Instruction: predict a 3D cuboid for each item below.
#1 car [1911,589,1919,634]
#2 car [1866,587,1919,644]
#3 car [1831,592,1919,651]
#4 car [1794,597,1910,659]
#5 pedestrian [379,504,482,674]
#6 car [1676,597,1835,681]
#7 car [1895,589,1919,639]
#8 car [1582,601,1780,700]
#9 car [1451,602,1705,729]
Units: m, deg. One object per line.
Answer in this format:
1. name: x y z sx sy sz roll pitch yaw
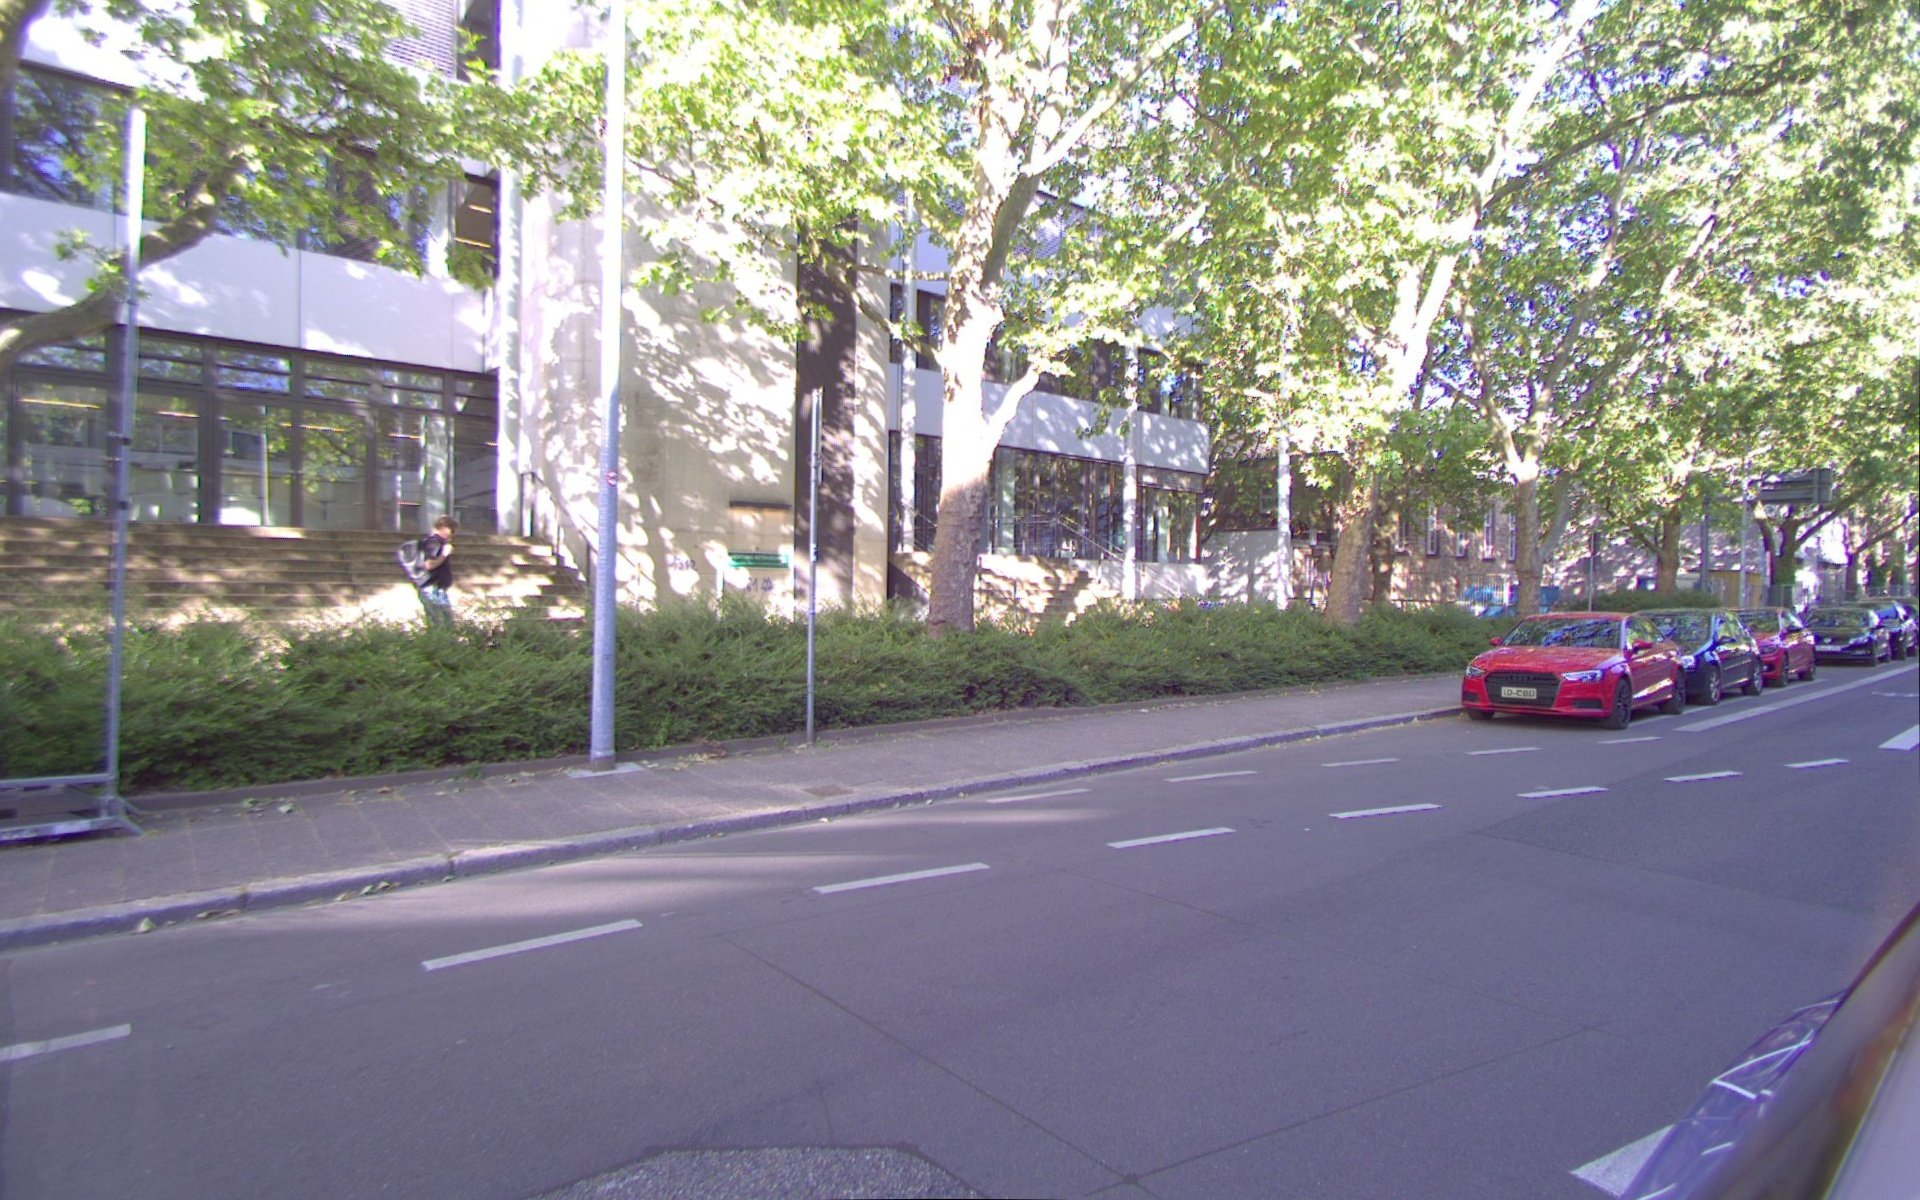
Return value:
1. car: 39.625 0.436 40.397 4.475 1.777 2.040 0 -1 -42
2. car: 31.055 0.486 33.010 4.271 1.777 1.788 0 -1 -42
3. car: 26.595 0.586 29.128 4.092 1.573 1.788 0 -1 -42
4. car: 23.050 0.677 26.096 4.092 1.478 1.788 0 -1 -42
5. pedestrian: -5.928 -0.128 11.323 0.848 1.803 0.785 0 0 -42
6. car: 15.858 0.698 20.103 4.092 1.502 1.815 0 -1 -42
7. car: 35.908 0.481 37.246 4.475 1.777 1.788 0 -1 -42
8. car: 11.953 0.736 16.681 4.092 1.431 1.815 0 -1 -42
9. car: 8.359 0.751 13.542 4.092 1.431 1.815 0 -1 -42
